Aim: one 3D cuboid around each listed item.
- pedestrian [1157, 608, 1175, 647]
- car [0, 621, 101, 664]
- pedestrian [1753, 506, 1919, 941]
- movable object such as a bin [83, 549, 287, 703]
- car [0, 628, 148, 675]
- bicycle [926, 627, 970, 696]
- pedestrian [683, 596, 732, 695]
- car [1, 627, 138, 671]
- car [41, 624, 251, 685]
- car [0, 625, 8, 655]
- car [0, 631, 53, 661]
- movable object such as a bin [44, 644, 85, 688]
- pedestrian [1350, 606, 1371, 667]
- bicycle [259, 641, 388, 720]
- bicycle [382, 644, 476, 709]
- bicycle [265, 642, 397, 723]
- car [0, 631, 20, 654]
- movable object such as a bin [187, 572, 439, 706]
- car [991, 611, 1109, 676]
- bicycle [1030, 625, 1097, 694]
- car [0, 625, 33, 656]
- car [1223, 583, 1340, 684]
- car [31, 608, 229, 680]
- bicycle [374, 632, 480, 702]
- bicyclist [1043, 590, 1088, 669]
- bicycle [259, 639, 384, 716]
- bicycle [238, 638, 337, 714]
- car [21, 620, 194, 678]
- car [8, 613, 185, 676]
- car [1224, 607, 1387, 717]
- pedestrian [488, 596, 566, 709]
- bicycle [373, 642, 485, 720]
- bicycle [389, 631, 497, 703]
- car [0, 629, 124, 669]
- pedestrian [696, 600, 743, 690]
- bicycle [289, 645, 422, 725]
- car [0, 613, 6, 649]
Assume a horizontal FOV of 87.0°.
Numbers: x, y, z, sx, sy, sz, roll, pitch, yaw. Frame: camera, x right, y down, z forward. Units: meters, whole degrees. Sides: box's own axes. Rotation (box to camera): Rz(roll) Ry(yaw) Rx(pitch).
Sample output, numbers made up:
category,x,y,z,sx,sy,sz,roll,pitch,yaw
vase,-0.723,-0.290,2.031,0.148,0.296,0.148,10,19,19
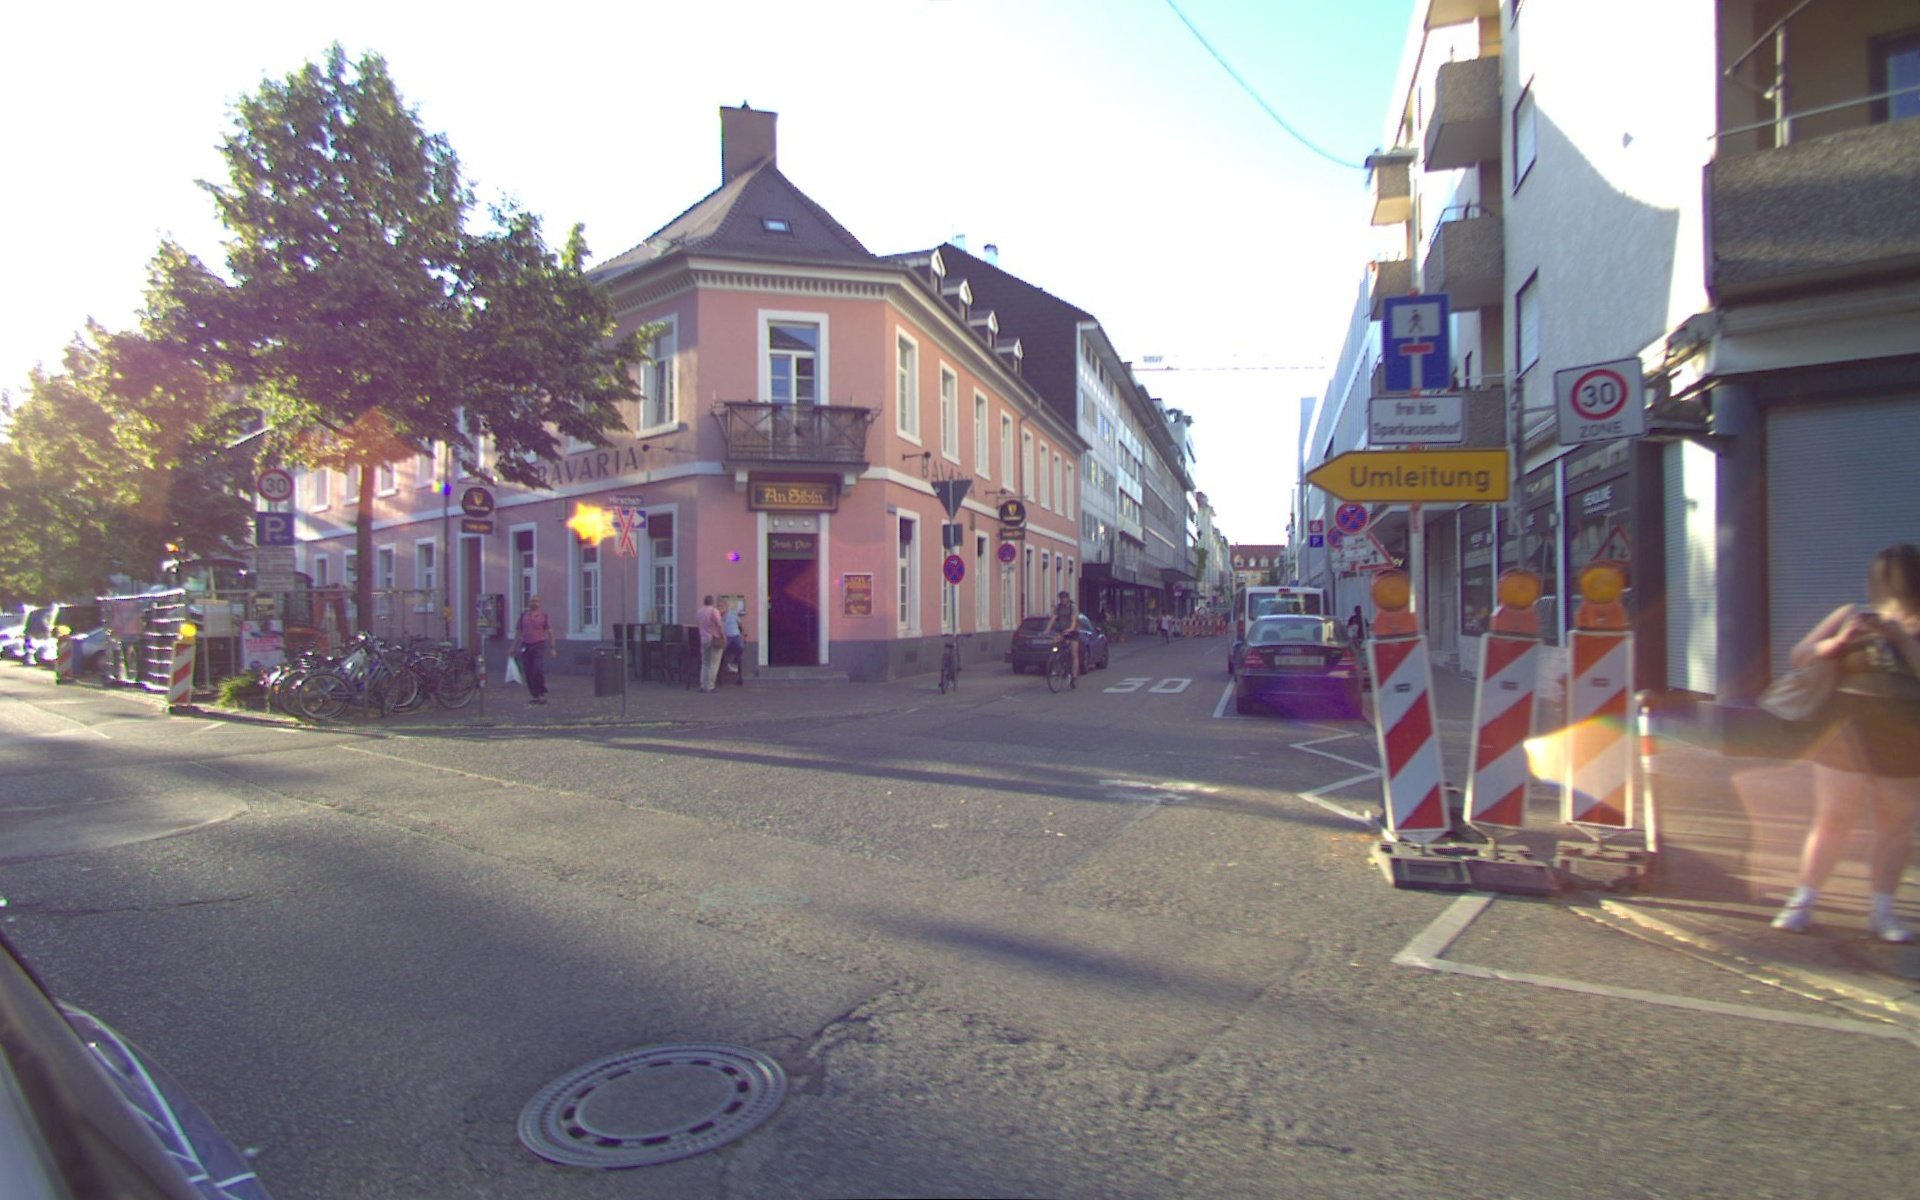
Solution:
category,x,y,z,sx,sy,sz,roll,pitch,yaw
pedestrian,9.249,1.220,45.418,0.711,1.702,0.779,-1,-1,16
car,-42.718,1.935,46.403,1.972,1.922,4.820,-2,-2,41
pedestrian,3.958,0.482,4.241,0.701,1.699,0.835,0,-1,-40
movable object such as a bin,-17.247,0.561,22.421,5.300,2.991,2.598,-2,-1,41
car,-32.968,1.854,37.416,1.838,1.512,4.288,-2,-1,36
bicycle,-0.204,1.137,19.361,0.579,1.202,1.938,0,0,7
pedestrian,-4.606,0.813,18.486,0.718,1.750,0.501,1,0,31
car,-34.947,1.888,39.777,1.905,1.512,3.880,-2,-1,43
car,-23.420,1.512,29.242,1.893,1.481,4.543,-2,-1,44
car,-65.422,2.698,66.237,1.919,1.968,4.451,-2,-1,43
car,-48.786,2.351,51.296,1.962,1.495,3.996,-2,-2,40
movable object such as a bin,-23.277,1.708,26.302,0.883,1.113,0.682,-2,-2,43
pedestrian,10.518,0.951,26.585,0.426,1.579,0.460,-1,-1,14
bicycle,-10.180,1.260,16.222,1.662,1.086,0.445,-3,2,-41
bicycle,-8.909,1.267,17.012,0.445,0.987,1.309,0,1,44
bicycle,-9.783,1.261,15.780,1.662,1.086,0.445,-3,2,-41
car,-62.973,2.784,64.727,1.593,1.450,4.108,-2,-1,42
movable object such as a bin,-13.708,0.779,22.017,2.278,2.514,5.762,-1,-1,-6
car,2.367,1.045,25.572,1.982,1.481,4.501,-2,-1,18
bicycle,2.002,1.099,19.262,0.582,1.202,2.107,-3,-2,25
car,-57.490,2.409,59.644,1.806,1.820,4.093,-2,-2,42
car,6.927,0.679,22.235,2.050,1.960,4.510,0,-1,13
car,-25.674,1.298,31.439,1.963,1.991,4.440,-2,-1,39
bicycle,-9.799,1.211,18.639,0.445,1.157,1.664,0,1,44
bicyclist,2.020,0.558,19.358,0.582,1.469,0.737,-3,-2,25
bicycle,-10.522,1.259,16.731,0.444,1.086,1.666,0,2,40
bicycle,-11.351,1.257,17.133,0.439,1.125,1.545,-1,2,8
car,-27.755,1.556,33.042,1.859,1.649,4.086,-2,-1,41
car,-29.710,1.481,34.917,2.067,1.991,4.436,-2,-1,41
car,5.105,0.830,15.185,1.983,1.390,4.184,-1,-1,18
pedestrian,-7.091,0.839,16.618,1.023,1.779,0.820,-1,-1,-10
bicycle,-8.191,1.231,15.664,0.470,1.067,1.474,0,1,35
bicycle,-9.284,1.181,18.224,0.445,1.157,1.664,0,1,44
car,-38.949,2.085,43.530,1.733,1.496,4.429,-2,-1,43
pedestrian,-4.601,0.845,19.390,0.718,1.662,0.501,1,0,31
bicycle,-9.167,1.262,15.388,1.662,1.029,0.445,-3,2,-41
car,-73.249,2.385,73.438,2.170,2.641,5.600,-2,0,41
